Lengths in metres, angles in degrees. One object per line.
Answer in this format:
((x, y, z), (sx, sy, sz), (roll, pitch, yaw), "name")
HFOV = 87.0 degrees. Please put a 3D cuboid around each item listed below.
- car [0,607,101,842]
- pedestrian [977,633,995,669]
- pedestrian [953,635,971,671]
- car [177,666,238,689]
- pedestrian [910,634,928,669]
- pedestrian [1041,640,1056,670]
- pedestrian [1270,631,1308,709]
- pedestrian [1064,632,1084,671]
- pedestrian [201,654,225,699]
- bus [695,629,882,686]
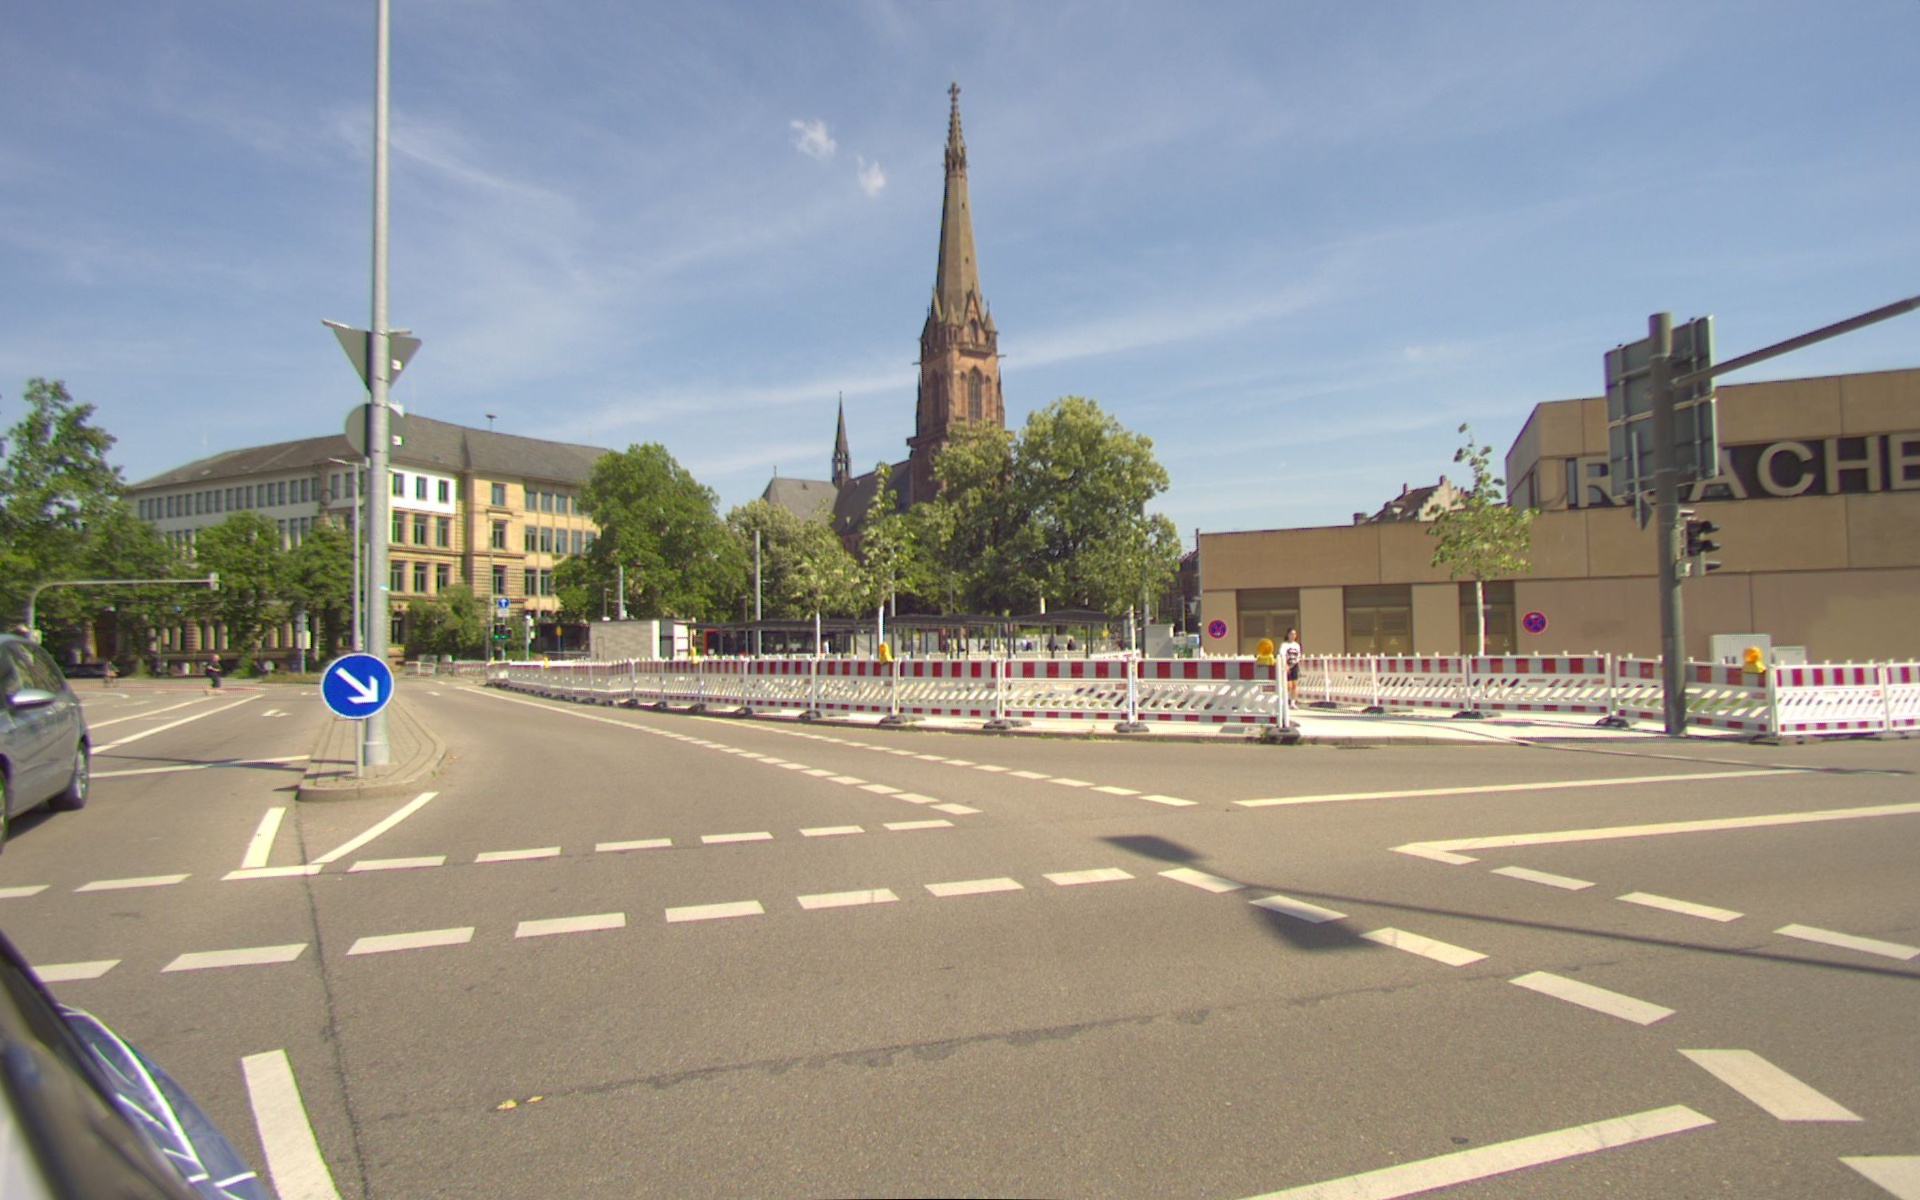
((-7.762, 0.897, 7.321), (1.660, 1.598, 4.164), (1, -4, -31), "car")
((1.497, 2.875, 57.578), (0.683, 2.029, 0.812), (-2, -3, 28), "pedestrian")
((0.096, 3.024, 57.383), (0.683, 2.029, 0.812), (-3, -4, 28), "pedestrian")
((-67.543, 6.943, 90.897), (1.988, 1.674, 3.968), (-1, 0, 23), "car")
((-2.390, 2.995, 58.634), (0.815, 2.029, 0.681), (-2, -3, 23), "pedestrian")
((4.901, 3.035, 55.857), (0.737, 1.674, 0.818), (-1, -3, 10), "pedestrian")
((6.782, 1.444, 20.884), (0.549, 1.577, 0.424), (0, -3, -15), "pedestrian")
((6.049, 2.741, 53.721), (0.684, 2.029, 0.811), (-3, -4, 34), "pedestrian")
((-34.580, 3.533, 46.833), (0.616, 2.029, 0.784), (-5, -4, 44), "pedestrian")
((-11.353, 3.821, 66.332), (12.337, 3.117, 3.108), (-4, -2, 24), "bus")
